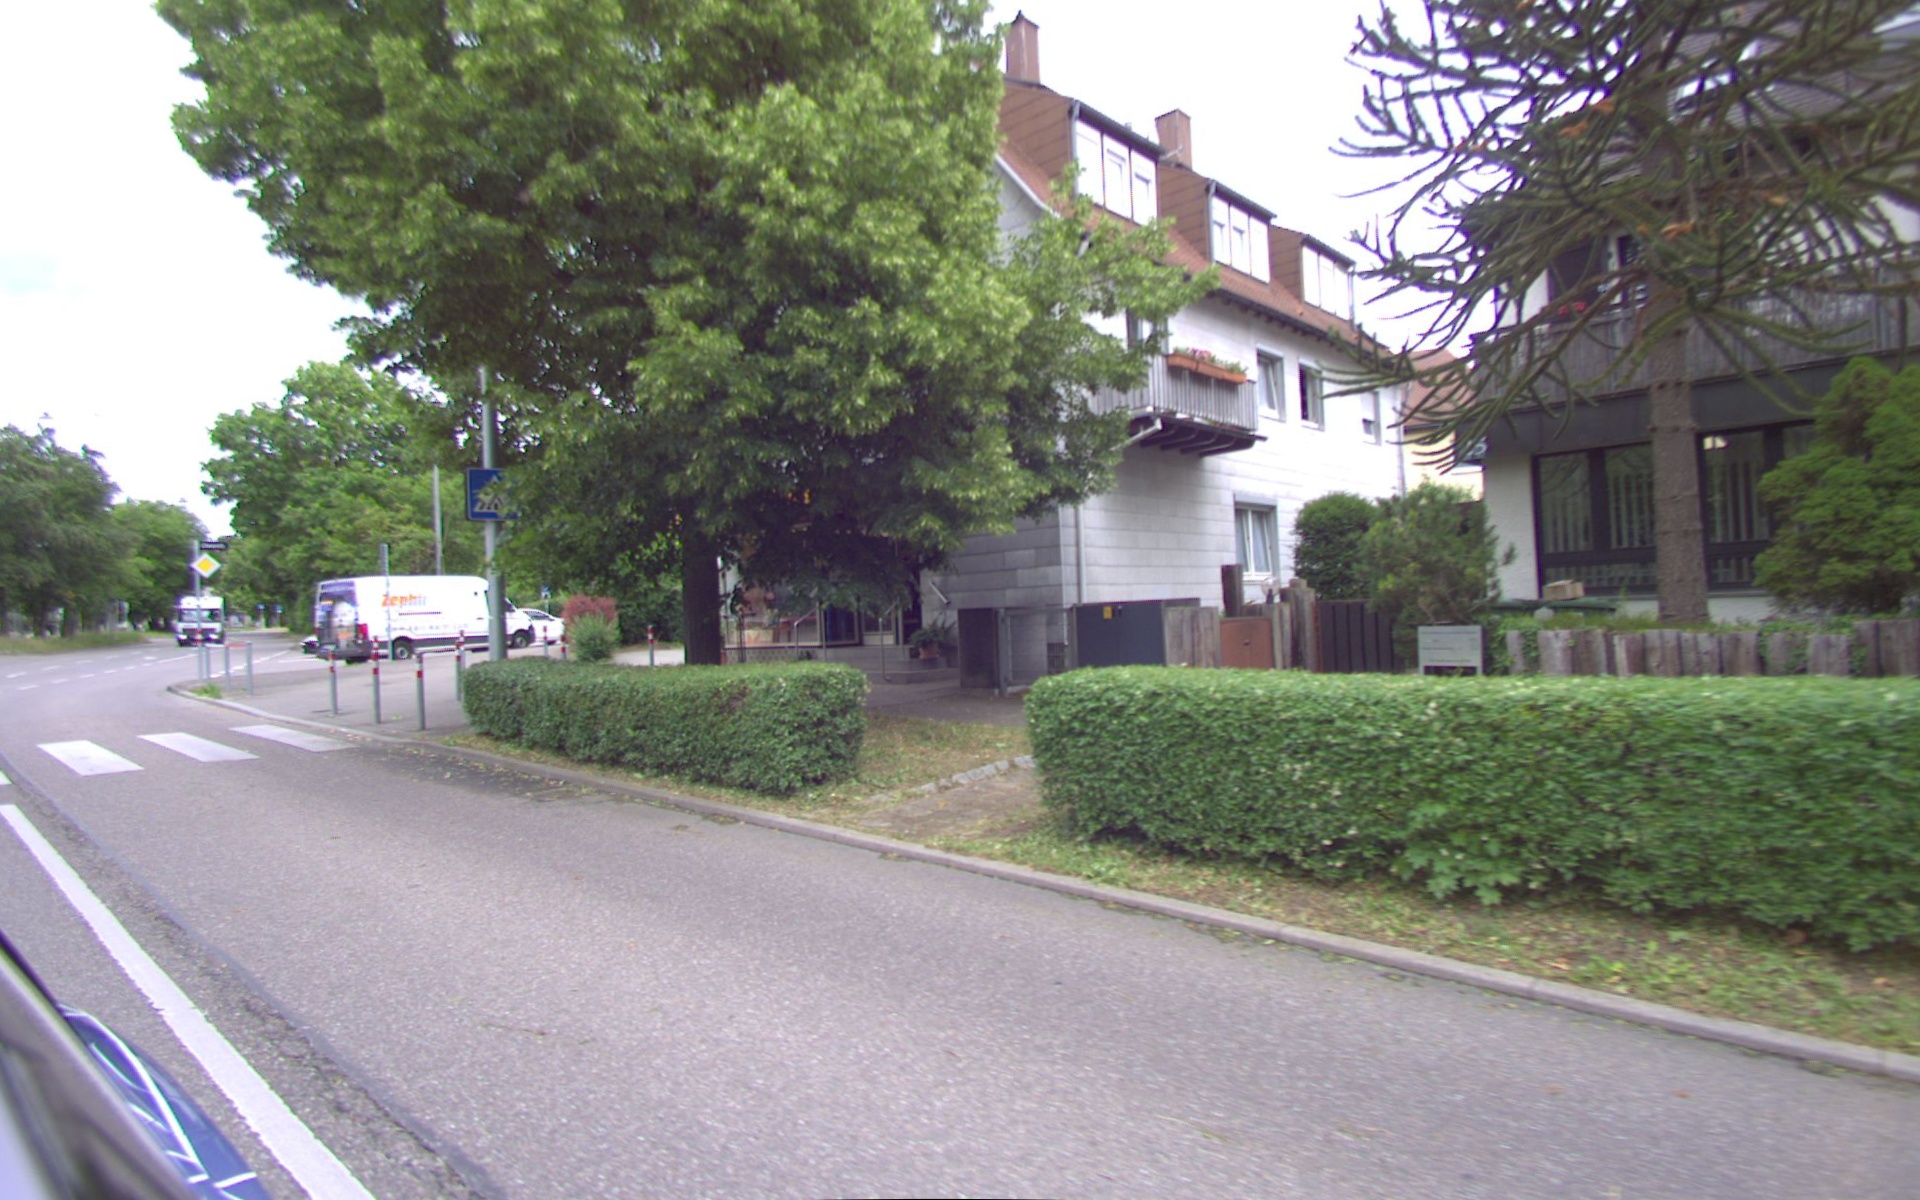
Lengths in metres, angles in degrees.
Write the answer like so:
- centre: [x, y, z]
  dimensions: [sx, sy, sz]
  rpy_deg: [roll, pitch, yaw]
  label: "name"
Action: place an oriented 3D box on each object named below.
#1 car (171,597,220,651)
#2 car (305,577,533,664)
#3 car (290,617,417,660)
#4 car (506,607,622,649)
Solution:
- centre: [-50.131, 1.526, 66.488]
  dimensions: [2.397, 3.300, 7.810]
  rpy_deg: [-1, 0, -36]
  label: "car"
- centre: [-16.219, 0.577, 30.852]
  dimensions: [1.963, 2.365, 6.323]
  rpy_deg: [-2, 0, 22]
  label: "car"
- centre: [-23.943, 1.479, 40.083]
  dimensions: [1.796, 1.522, 3.953]
  rpy_deg: [-1, 0, 35]
  label: "car"
- centre: [-15.585, 1.069, 39.973]
  dimensions: [1.796, 1.522, 3.953]
  rpy_deg: [-1, 0, 35]
  label: "car"
